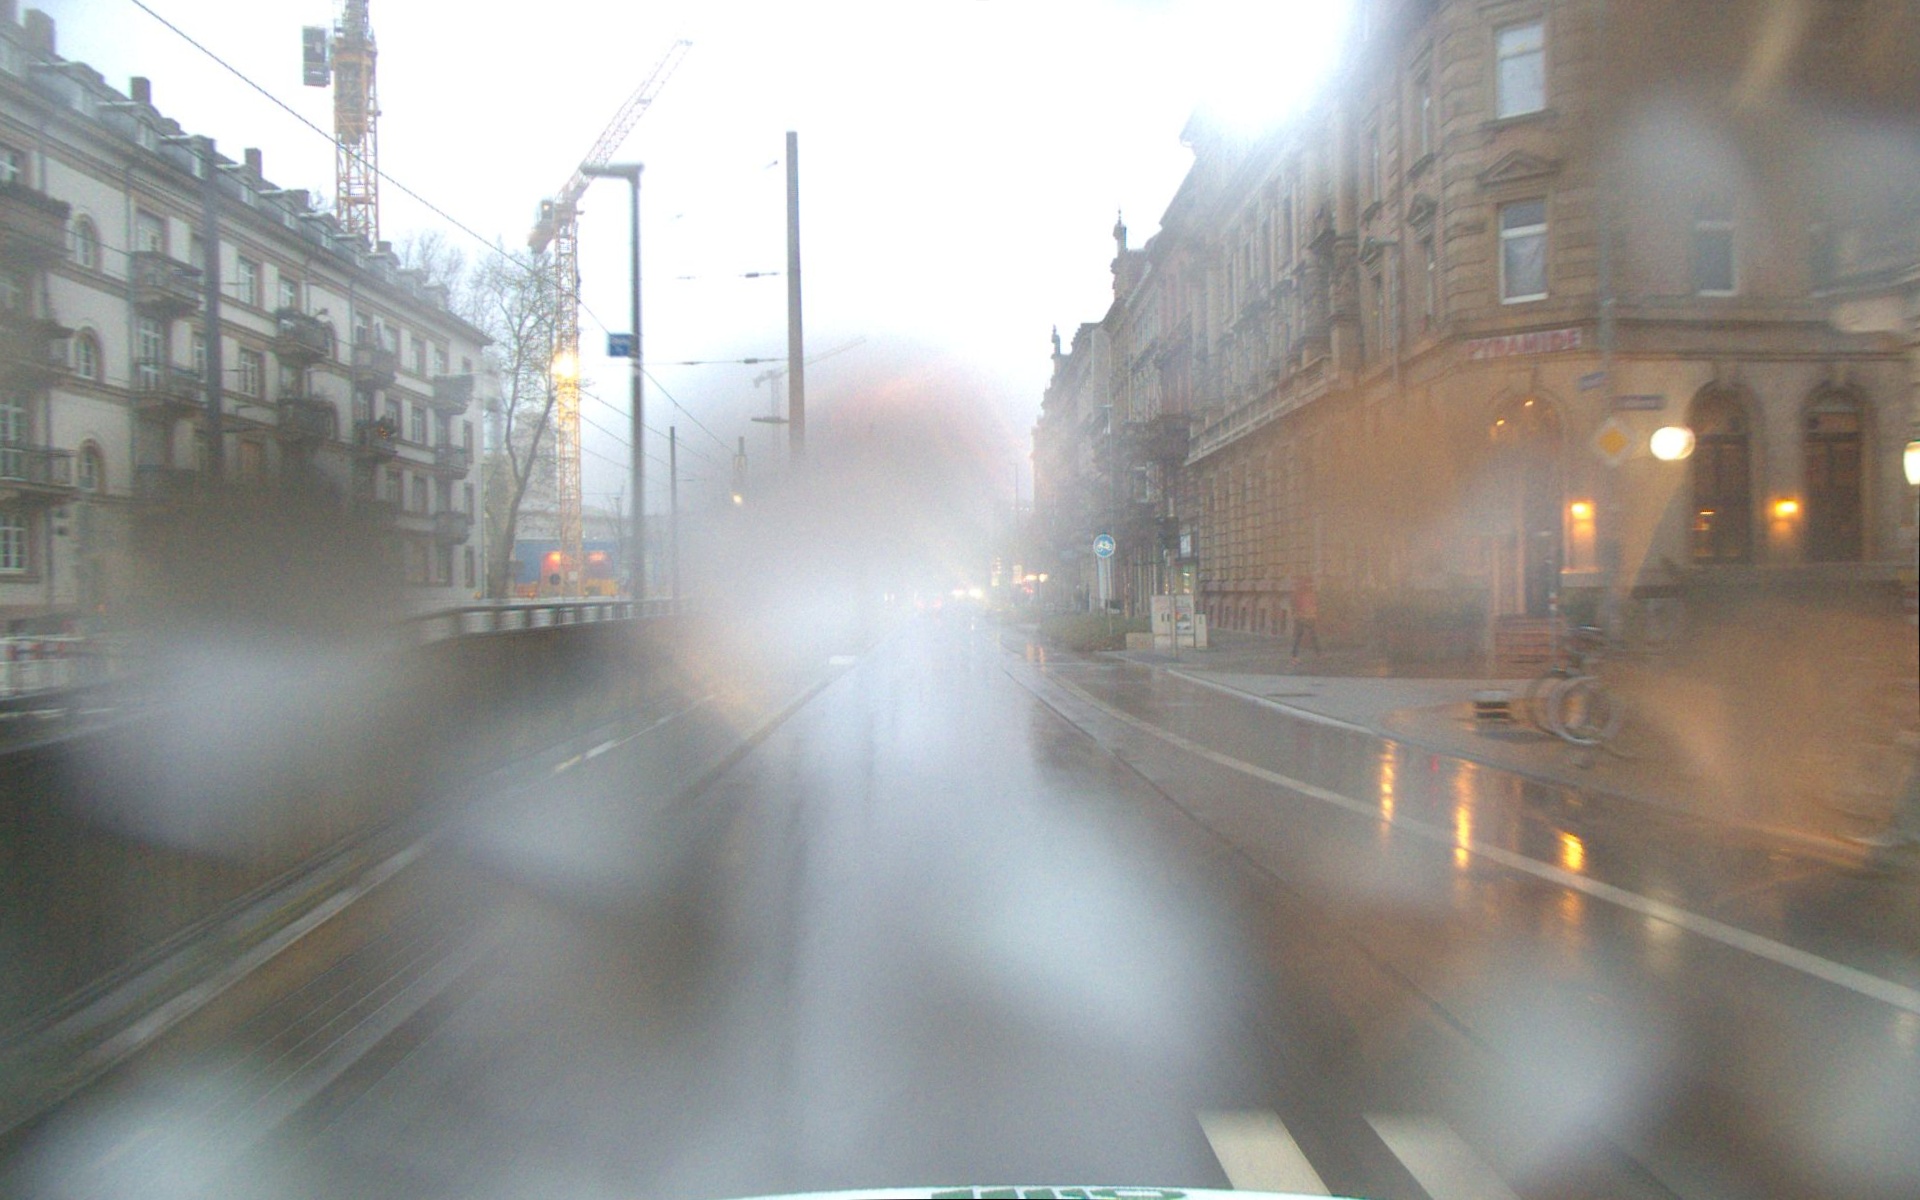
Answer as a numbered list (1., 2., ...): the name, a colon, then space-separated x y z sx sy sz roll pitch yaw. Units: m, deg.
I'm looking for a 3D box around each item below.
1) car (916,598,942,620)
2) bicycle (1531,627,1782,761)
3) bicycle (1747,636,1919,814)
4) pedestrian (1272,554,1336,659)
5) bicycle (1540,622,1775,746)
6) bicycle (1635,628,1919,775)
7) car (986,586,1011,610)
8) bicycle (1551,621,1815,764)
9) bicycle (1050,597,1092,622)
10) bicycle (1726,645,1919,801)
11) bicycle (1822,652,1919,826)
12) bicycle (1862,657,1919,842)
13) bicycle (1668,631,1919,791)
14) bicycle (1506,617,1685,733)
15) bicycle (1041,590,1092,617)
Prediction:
1. car: -2.212 0.618 118.939 1.747 1.492 3.149 -1 0 1
2. bicycle: 6.299 0.839 14.990 2.046 1.070 0.478 -3 0 -3
3. bicycle: 6.551 0.827 11.458 1.968 1.114 0.425 -4 0 -3
4. pedestrian: 6.837 0.125 32.860 0.844 2.049 0.909 -1 0 -31
5. bicycle: 6.708 0.798 15.932 2.046 1.070 0.478 -2 0 -3
6. bicycle: 6.646 0.813 13.443 2.101 1.073 0.484 -2 0 -3
7. car: 2.750 -0.128 117.638 1.762 1.632 3.770 -1 0 1
8. bicycle: 6.324 0.803 14.490 2.101 1.073 0.425 -4 1 -3
9. bicycle: 5.041 0.412 74.972 1.814 1.077 0.471 -2 0 -4
10. bicycle: 6.617 0.855 11.920 1.968 0.988 0.425 -4 0 -3
11. bicycle: 6.588 0.877 10.823 1.695 1.073 0.371 -2 0 -3
12. bicycle: 6.481 0.874 10.138 1.695 1.073 0.371 -2 0 -3
13. bicycle: 6.642 0.847 12.830 2.101 1.073 0.425 -4 1 -3
14. bicycle: 6.610 0.754 17.166 2.063 1.070 0.474 -3 0 -28
15. bicycle: 4.566 0.146 71.077 2.106 1.076 0.525 -2 0 -7
